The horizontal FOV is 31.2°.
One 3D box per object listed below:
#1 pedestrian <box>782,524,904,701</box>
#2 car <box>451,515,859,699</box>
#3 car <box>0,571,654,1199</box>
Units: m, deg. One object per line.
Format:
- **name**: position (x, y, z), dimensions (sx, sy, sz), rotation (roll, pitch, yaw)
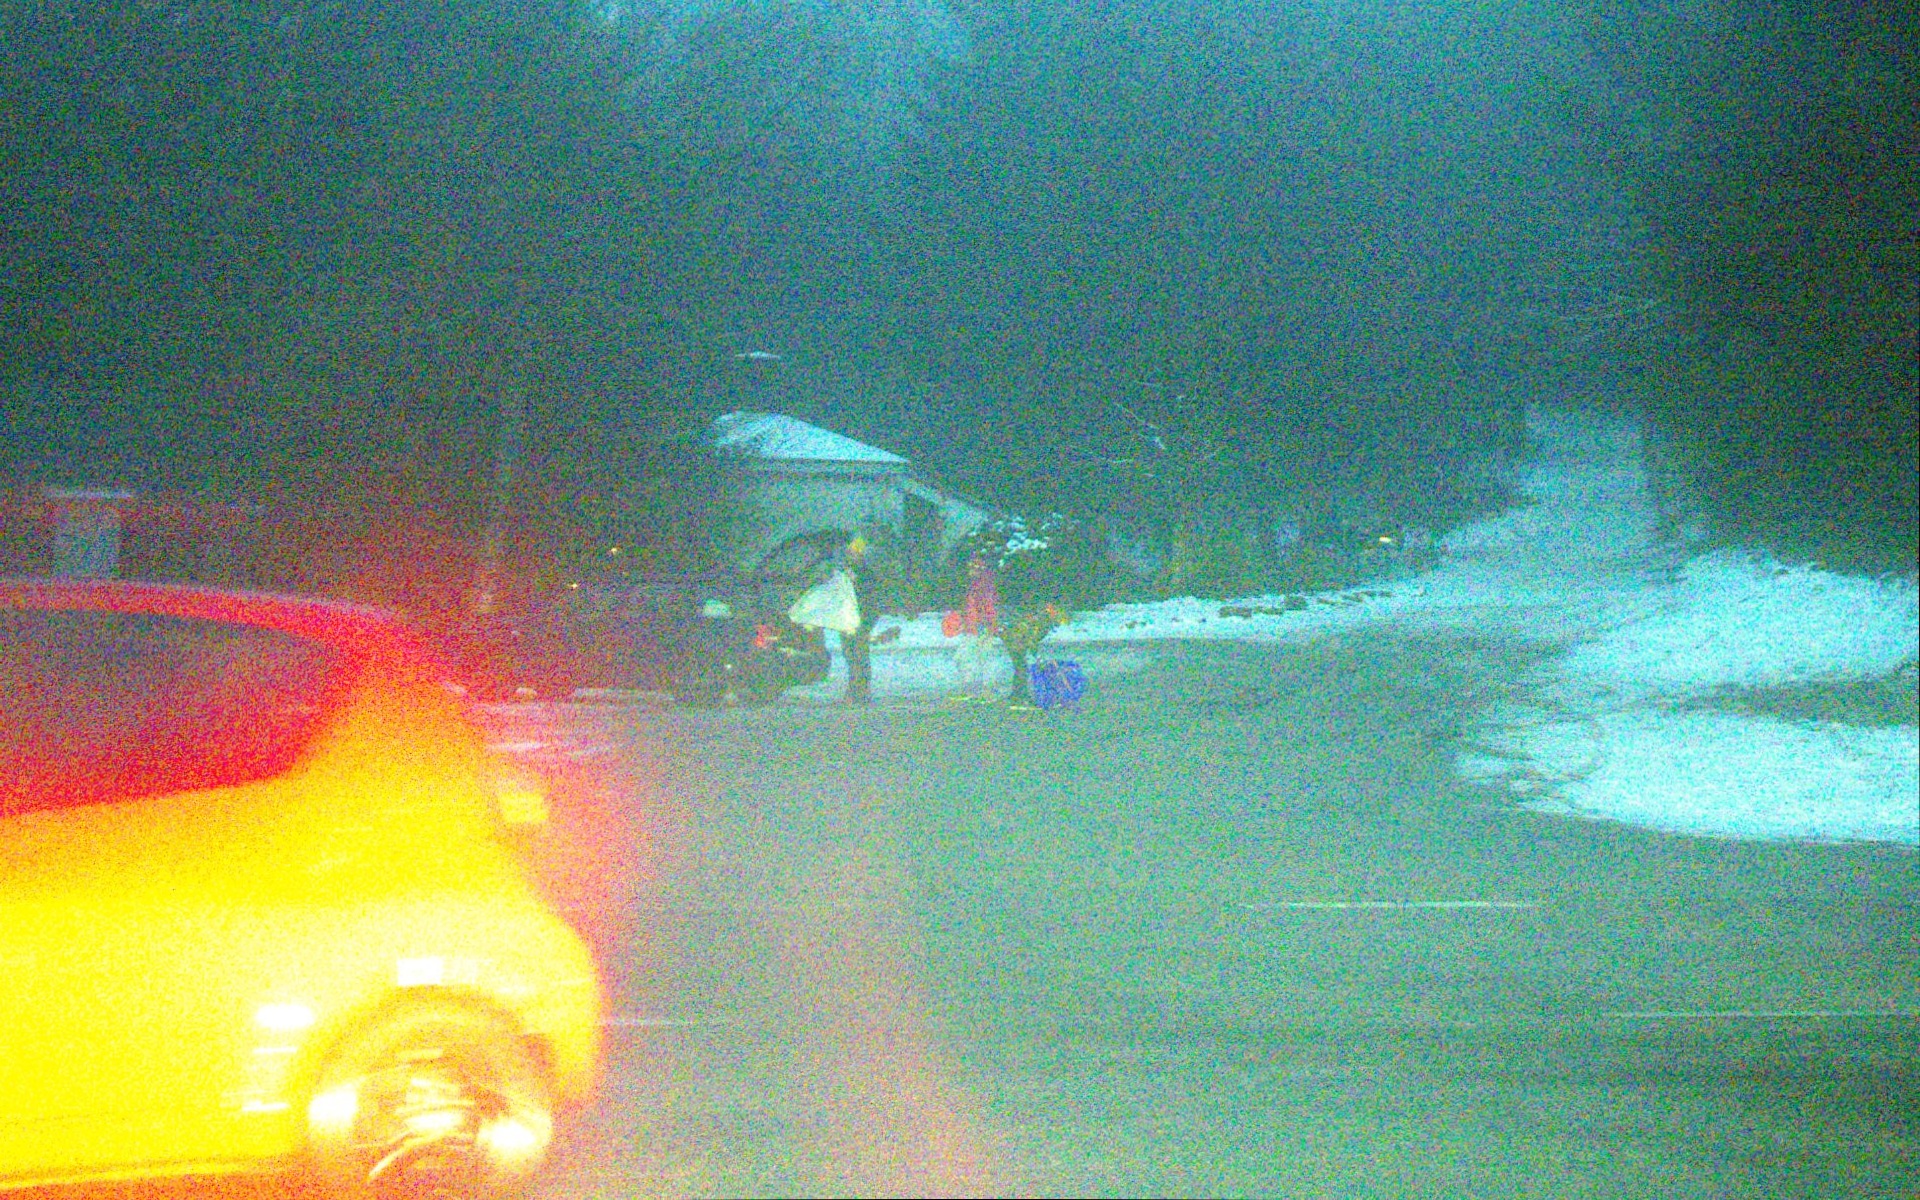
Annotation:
- **pedestrian**: position (-1.230, 0.134, 36.293), dimensions (0.961, 1.822, 0.924), rotation (1, -1, 21)
- **car**: position (-3.307, 0.074, 37.532), dimensions (3.950, 1.875, 1.998), rotation (1, -1, 17)
- **car**: position (-2.549, 0.659, 7.460), dimensions (3.401, 1.447, 1.577), rotation (0, 0, -27)
